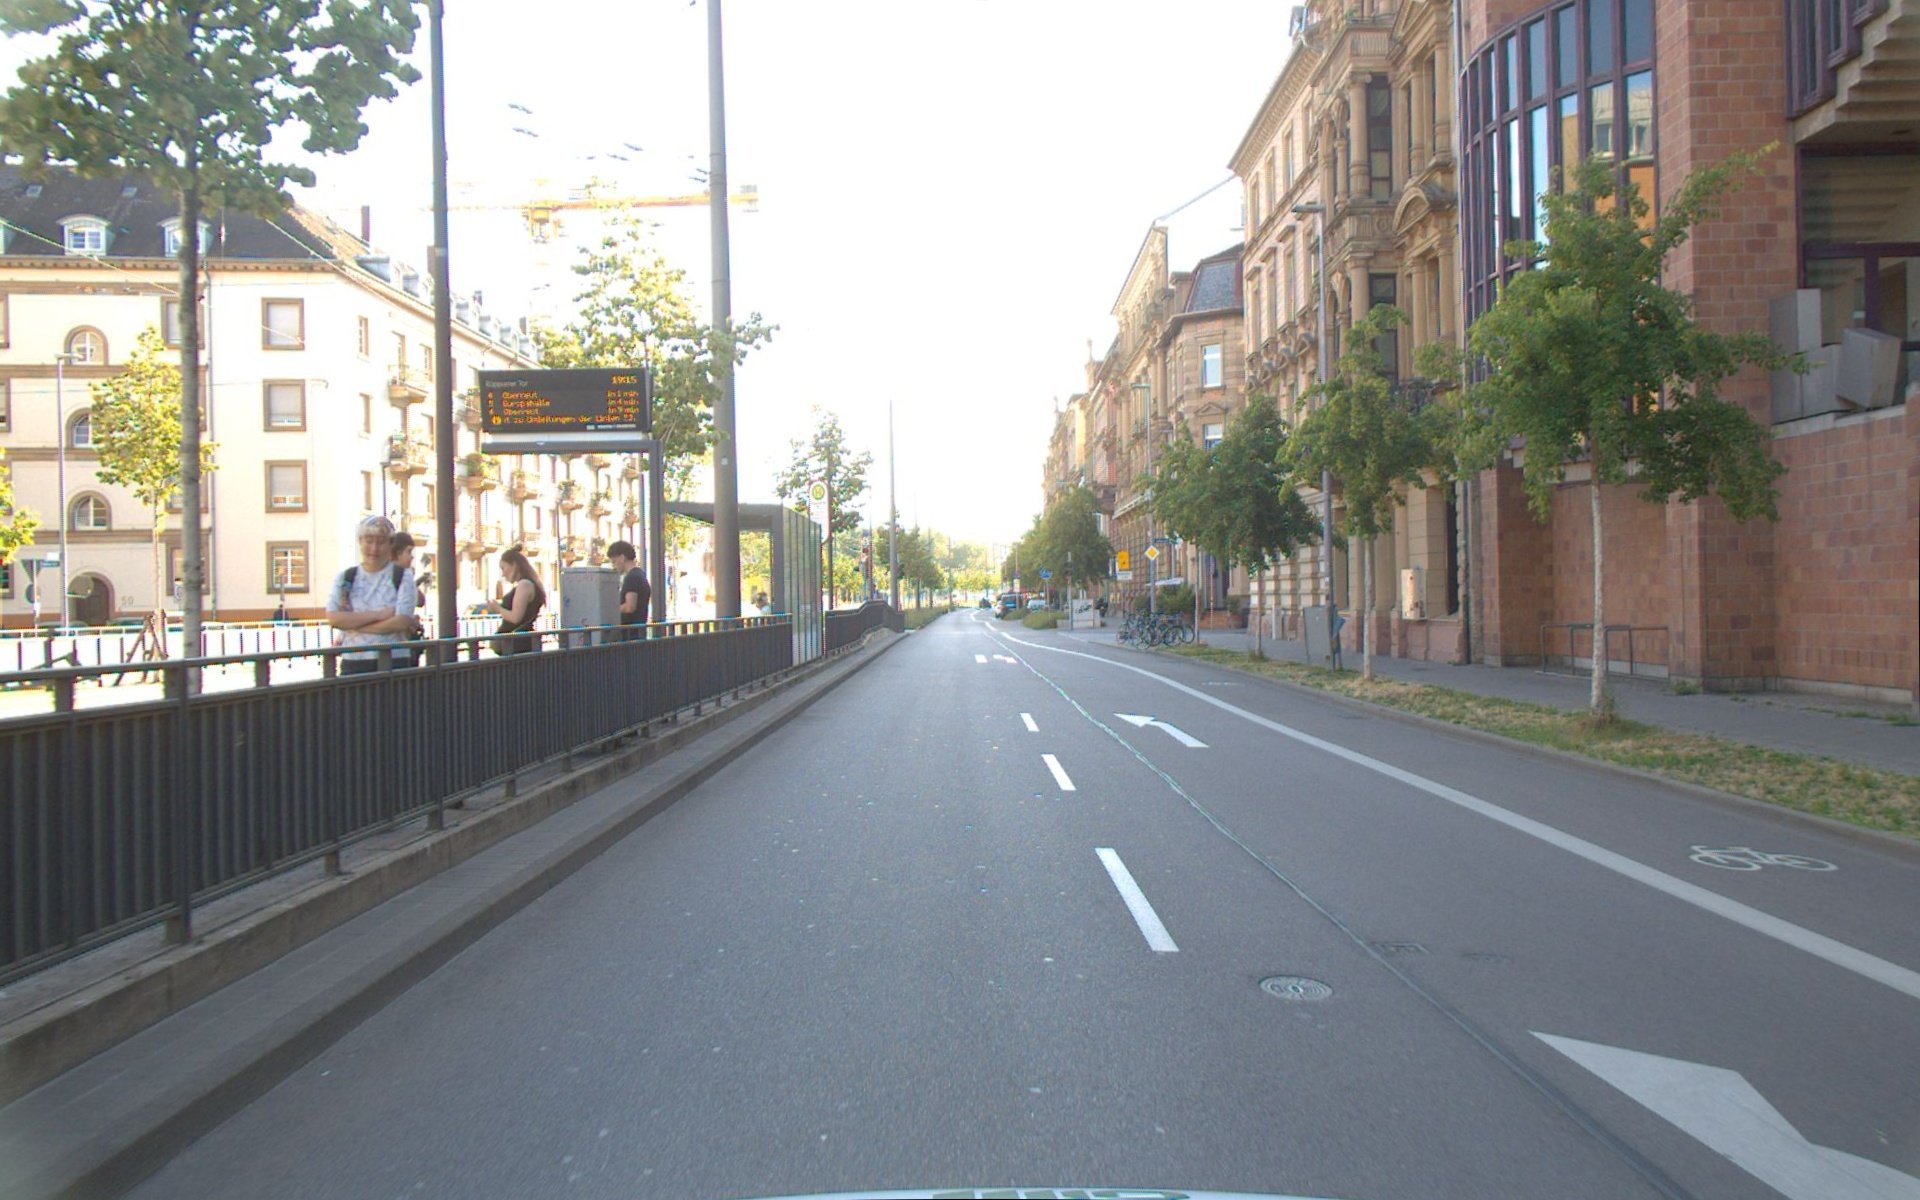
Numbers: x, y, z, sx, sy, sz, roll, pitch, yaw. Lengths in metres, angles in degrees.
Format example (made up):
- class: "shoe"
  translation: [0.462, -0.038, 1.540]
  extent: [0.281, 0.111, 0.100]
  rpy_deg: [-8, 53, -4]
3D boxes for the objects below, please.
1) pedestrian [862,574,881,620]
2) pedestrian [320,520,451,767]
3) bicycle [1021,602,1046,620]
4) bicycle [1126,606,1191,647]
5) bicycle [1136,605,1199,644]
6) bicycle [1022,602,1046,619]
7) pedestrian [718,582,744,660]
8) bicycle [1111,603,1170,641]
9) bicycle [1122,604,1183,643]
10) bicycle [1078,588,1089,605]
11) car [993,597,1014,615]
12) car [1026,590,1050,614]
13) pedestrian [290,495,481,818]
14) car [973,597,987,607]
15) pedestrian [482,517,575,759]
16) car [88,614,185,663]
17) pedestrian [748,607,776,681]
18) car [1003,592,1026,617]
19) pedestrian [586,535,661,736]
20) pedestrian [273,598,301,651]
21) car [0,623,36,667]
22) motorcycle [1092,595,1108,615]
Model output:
- class: "pedestrian"
  translation: [-3.261, -0.087, 60.959]
  extent: [0.641, 1.671, 0.867]
  rpy_deg: [-1, -1, 0]
- class: "pedestrian"
  translation: [-4.238, 0.309, 12.239]
  extent: [0.705, 1.762, 0.651]
  rpy_deg: [-1, 0, -1]
- class: "bicycle"
  translation: [4.926, 0.724, 110.517]
  extent: [1.546, 1.066, 0.488]
  rpy_deg: [-3, 0, -8]
- class: "bicycle"
  translation: [6.019, 0.792, 50.198]
  extent: [1.790, 1.083, 0.663]
  rpy_deg: [-4, 1, -5]
- class: "bicycle"
  translation: [6.467, 0.756, 51.571]
  extent: [1.790, 1.083, 0.663]
  rpy_deg: [-4, 1, -5]
- class: "bicycle"
  translation: [5.011, 0.690, 112.345]
  extent: [1.546, 1.066, 0.488]
  rpy_deg: [-3, 0, -8]
- class: "pedestrian"
  translation: [-4.230, 0.386, 30.543]
  extent: [0.421, 1.410, 0.406]
  rpy_deg: [-1, 0, -12]
- class: "bicycle"
  translation: [5.931, 0.722, 54.428]
  extent: [1.790, 1.083, 0.663]
  rpy_deg: [-4, 1, -5]
- class: "bicycle"
  translation: [6.147, 0.741, 52.955]
  extent: [1.790, 1.083, 0.663]
  rpy_deg: [-4, 1, -5]
- class: "bicycle"
  translation: [10.650, -0.339, 142.709]
  extent: [0.647, 1.427, 2.352]
  rpy_deg: [-1, 1, -1]
- class: "car"
  translation: [3.964, 0.549, 150.348]
  extent: [1.811, 1.483, 4.157]
  rpy_deg: [-1, 1, 2]
- class: "car"
  translation: [5.654, 0.138, 120.358]
  extent: [1.603, 1.511, 4.213]
  rpy_deg: [-3, 1, 3]
- class: "pedestrian"
  translation: [-2.988, 0.279, 8.679]
  extent: [0.659, 1.589, 0.906]
  rpy_deg: [-1, 0, 0]
- class: "car"
  translation: [3.083, 0.243, 255.626]
  extent: [1.759, 1.489, 4.003]
  rpy_deg: [-1, 0, 7]
- class: "pedestrian"
  translation: [-3.234, 0.278, 12.427]
  extent: [0.494, 1.762, 0.651]
  rpy_deg: [-1, 0, -1]
- class: "car"
  translation: [-30.532, 1.387, 61.448]
  extent: [1.801, 1.612, 4.126]
  rpy_deg: [-2, 1, -5]
- class: "pedestrian"
  translation: [-3.296, 0.721, 27.525]
  extent: [0.399, 1.211, 0.428]
  rpy_deg: [-1, 0, -13]
- class: "car"
  translation: [4.505, 0.340, 136.932]
  extent: [1.846, 1.971, 4.474]
  rpy_deg: [-1, 1, 2]
- class: "pedestrian"
  translation: [-2.942, 0.303, 14.494]
  extent: [0.494, 1.708, 0.651]
  rpy_deg: [-1, 0, -1]
- class: "pedestrian"
  translation: [-26.534, 0.966, 65.240]
  extent: [0.784, 2.048, 0.625]
  rpy_deg: [-1, 1, 0]
- class: "car"
  translation: [-35.574, 1.671, 60.254]
  extent: [1.801, 1.528, 3.996]
  rpy_deg: [-2, 1, -5]
- class: "motorcycle"
  translation: [9.735, 0.344, 115.245]
  extent: [0.778, 1.331, 2.852]
  rpy_deg: [-3, 1, 0]
